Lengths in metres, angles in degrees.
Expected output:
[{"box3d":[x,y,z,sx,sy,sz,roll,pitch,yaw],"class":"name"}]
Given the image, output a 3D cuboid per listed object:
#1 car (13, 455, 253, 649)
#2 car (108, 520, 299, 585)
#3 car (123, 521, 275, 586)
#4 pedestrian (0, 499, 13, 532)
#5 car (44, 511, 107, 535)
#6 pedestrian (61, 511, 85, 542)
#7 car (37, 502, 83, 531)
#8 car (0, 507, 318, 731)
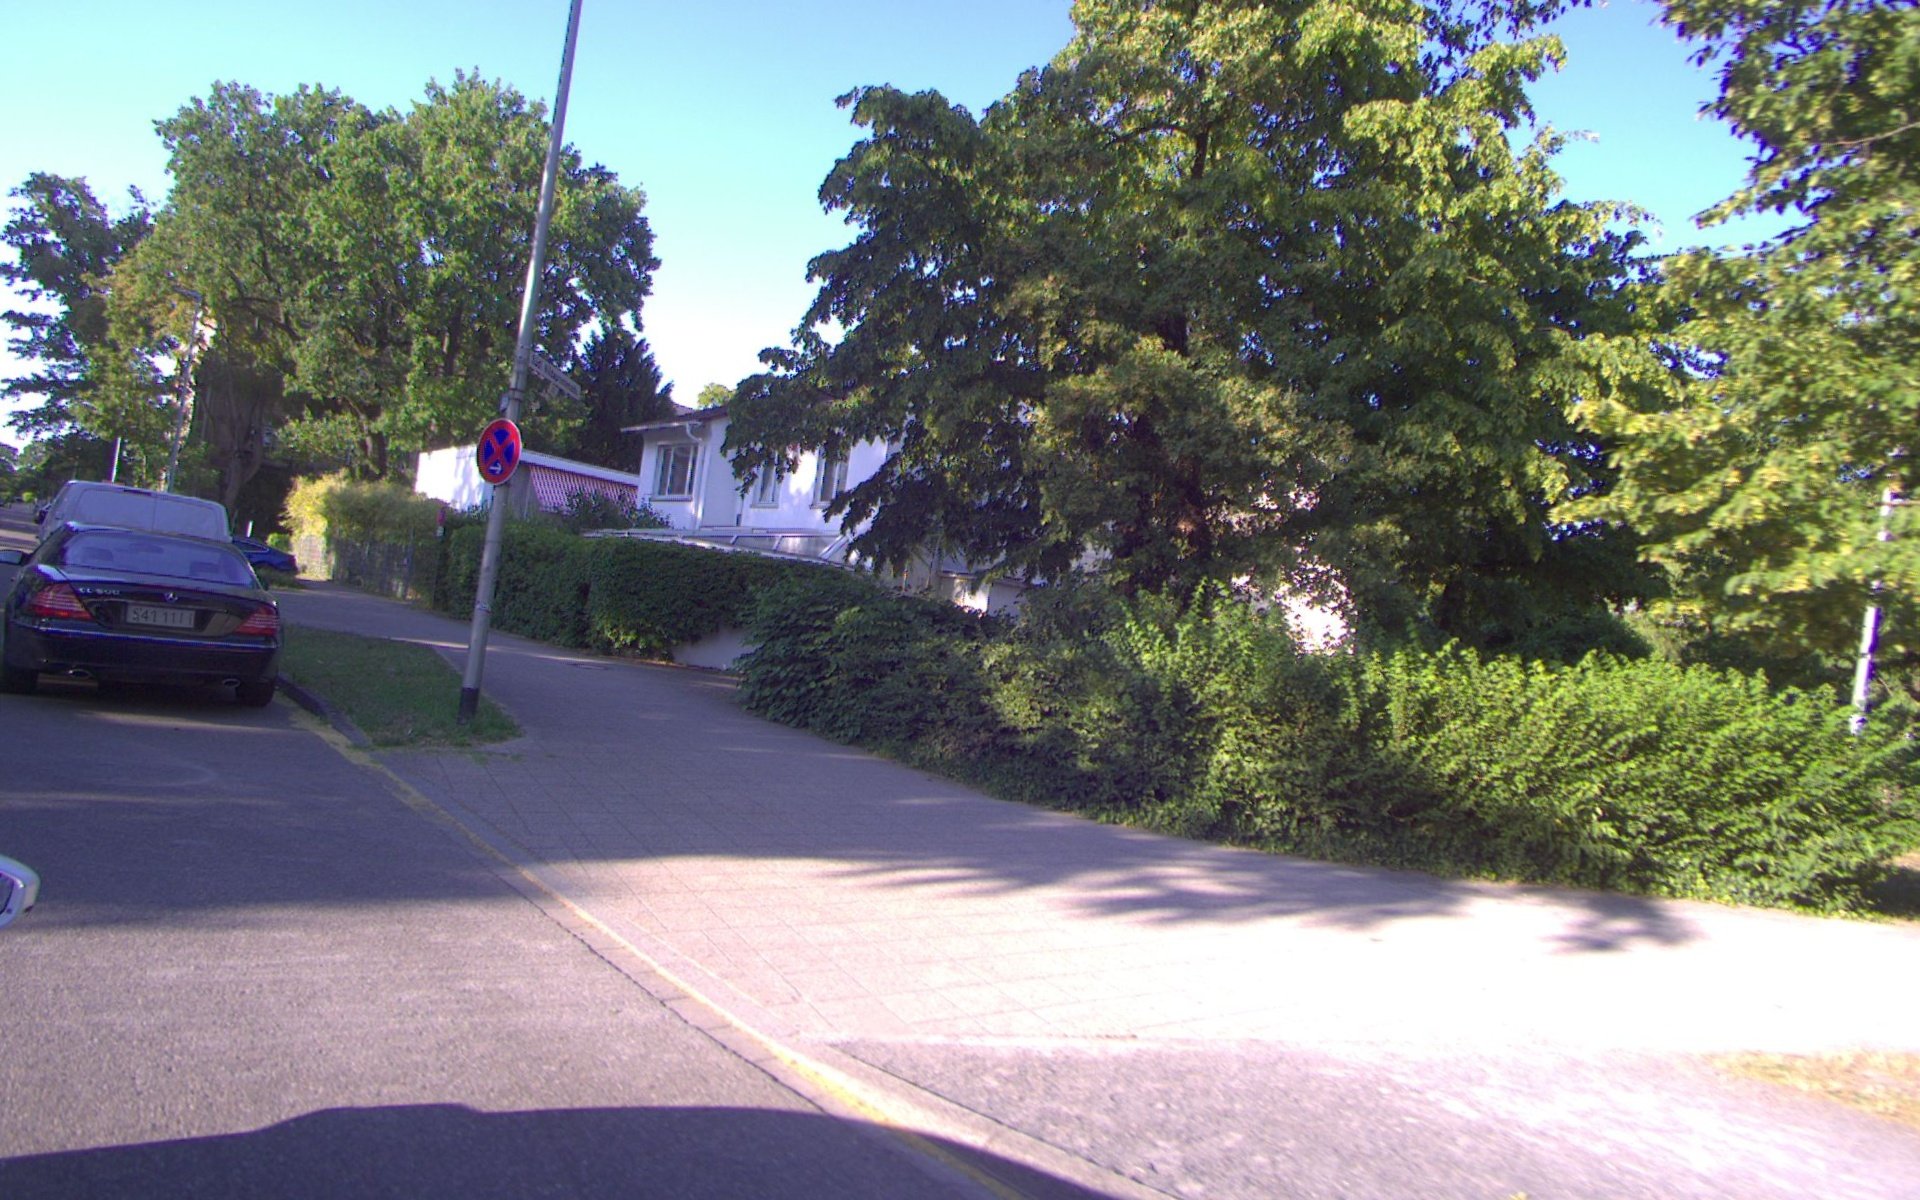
[{"box3d":[-11.558,-0.689,13.891,1.949,2.037,5.088,9,-2,-44],"class":"car"},{"box3d":[-23.671,-1.448,31.571,4.572,1.431,1.900,7,-2,-43],"class":"car"},{"box3d":[-25.264,-1.532,33.477,1.768,1.541,3.677,6,-2,43],"class":"car"},{"box3d":[-56.422,-5.016,58.784,0.983,1.879,1.065,7,-1,15],"class":"pedestrian"},{"box3d":[-88.409,-7.670,100.614,1.818,1.626,4.476,6,-3,44],"class":"car"},{"box3d":[-50.544,-4.197,57.329,0.710,1.624,0.784,5,-2,41],"class":"pedestrian"},{"box3d":[-137.386,-12.738,153.568,4.877,3.659,1.819,10,-2,-44],"class":"car"},{"box3d":[-7.658,0.057,9.360,1.762,1.485,4.804,9,-2,-44],"class":"car"}]
